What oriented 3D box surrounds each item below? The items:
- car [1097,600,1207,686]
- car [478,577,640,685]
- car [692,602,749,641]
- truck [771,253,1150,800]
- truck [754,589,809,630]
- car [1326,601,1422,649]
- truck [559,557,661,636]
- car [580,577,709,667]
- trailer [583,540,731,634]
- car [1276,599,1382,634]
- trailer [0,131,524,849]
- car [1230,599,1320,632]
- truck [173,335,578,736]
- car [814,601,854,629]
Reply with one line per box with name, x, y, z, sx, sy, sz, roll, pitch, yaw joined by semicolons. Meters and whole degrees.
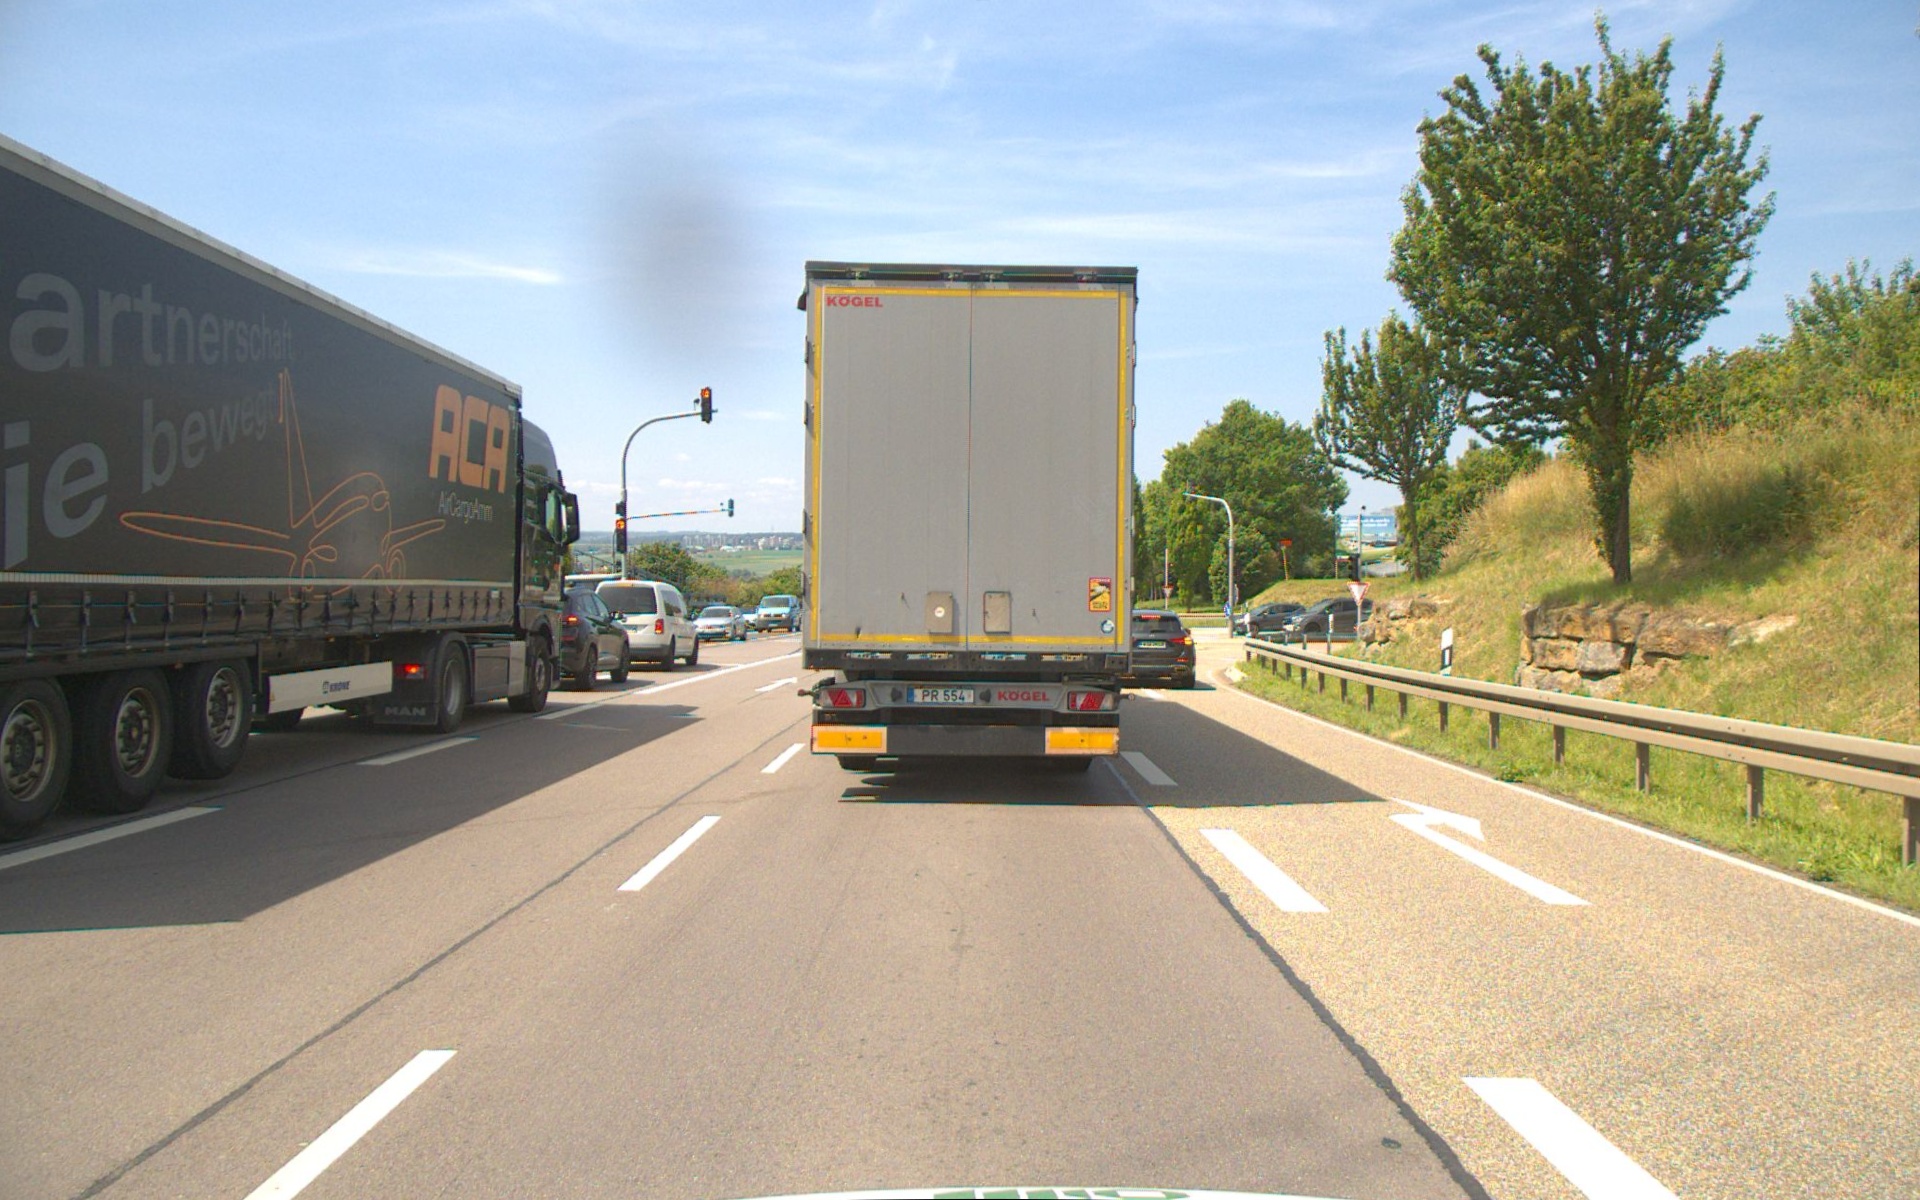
car;3.728;0.826;32.790;1.710;1.559;4.298;1;-1;1
car;-6.783;0.499;28.413;1.818;1.686;4.347;1;0;-2
car;-9.992;0.882;69.190;1.701;1.555;4.000;1;-1;2
truck;-0.050;-0.507;17.917;2.742;3.998;11.339;1;0;-1
truck;-9.662;0.529;89.825;1.924;2.195;4.627;-1;-1;7
car;15.057;0.903;60.016;1.769;1.669;3.977;0;-1;41
truck;-14.174;-0.103;67.351;2.741;3.066;5.990;0;-1;1
car;-6.816;0.454;36.224;1.731;1.830;4.753;1;0;2
trailer;-13.748;-0.399;77.392;2.584;3.829;19.803;0;-1;2
car;16.228;0.730;72.783;4.279;1.537;1.712;0;-1;-11
trailer;-6.710;-0.605;13.318;2.726;3.982;13.785;1;0;0
car;15.058;0.746;79.147;3.912;1.537;1.713;0;-1;-8
truck;-6.699;-0.650;20.006;2.726;4.083;5.970;1;0;0
car;-6.890;0.816;90.834;1.718;1.494;4.197;0;0;2
